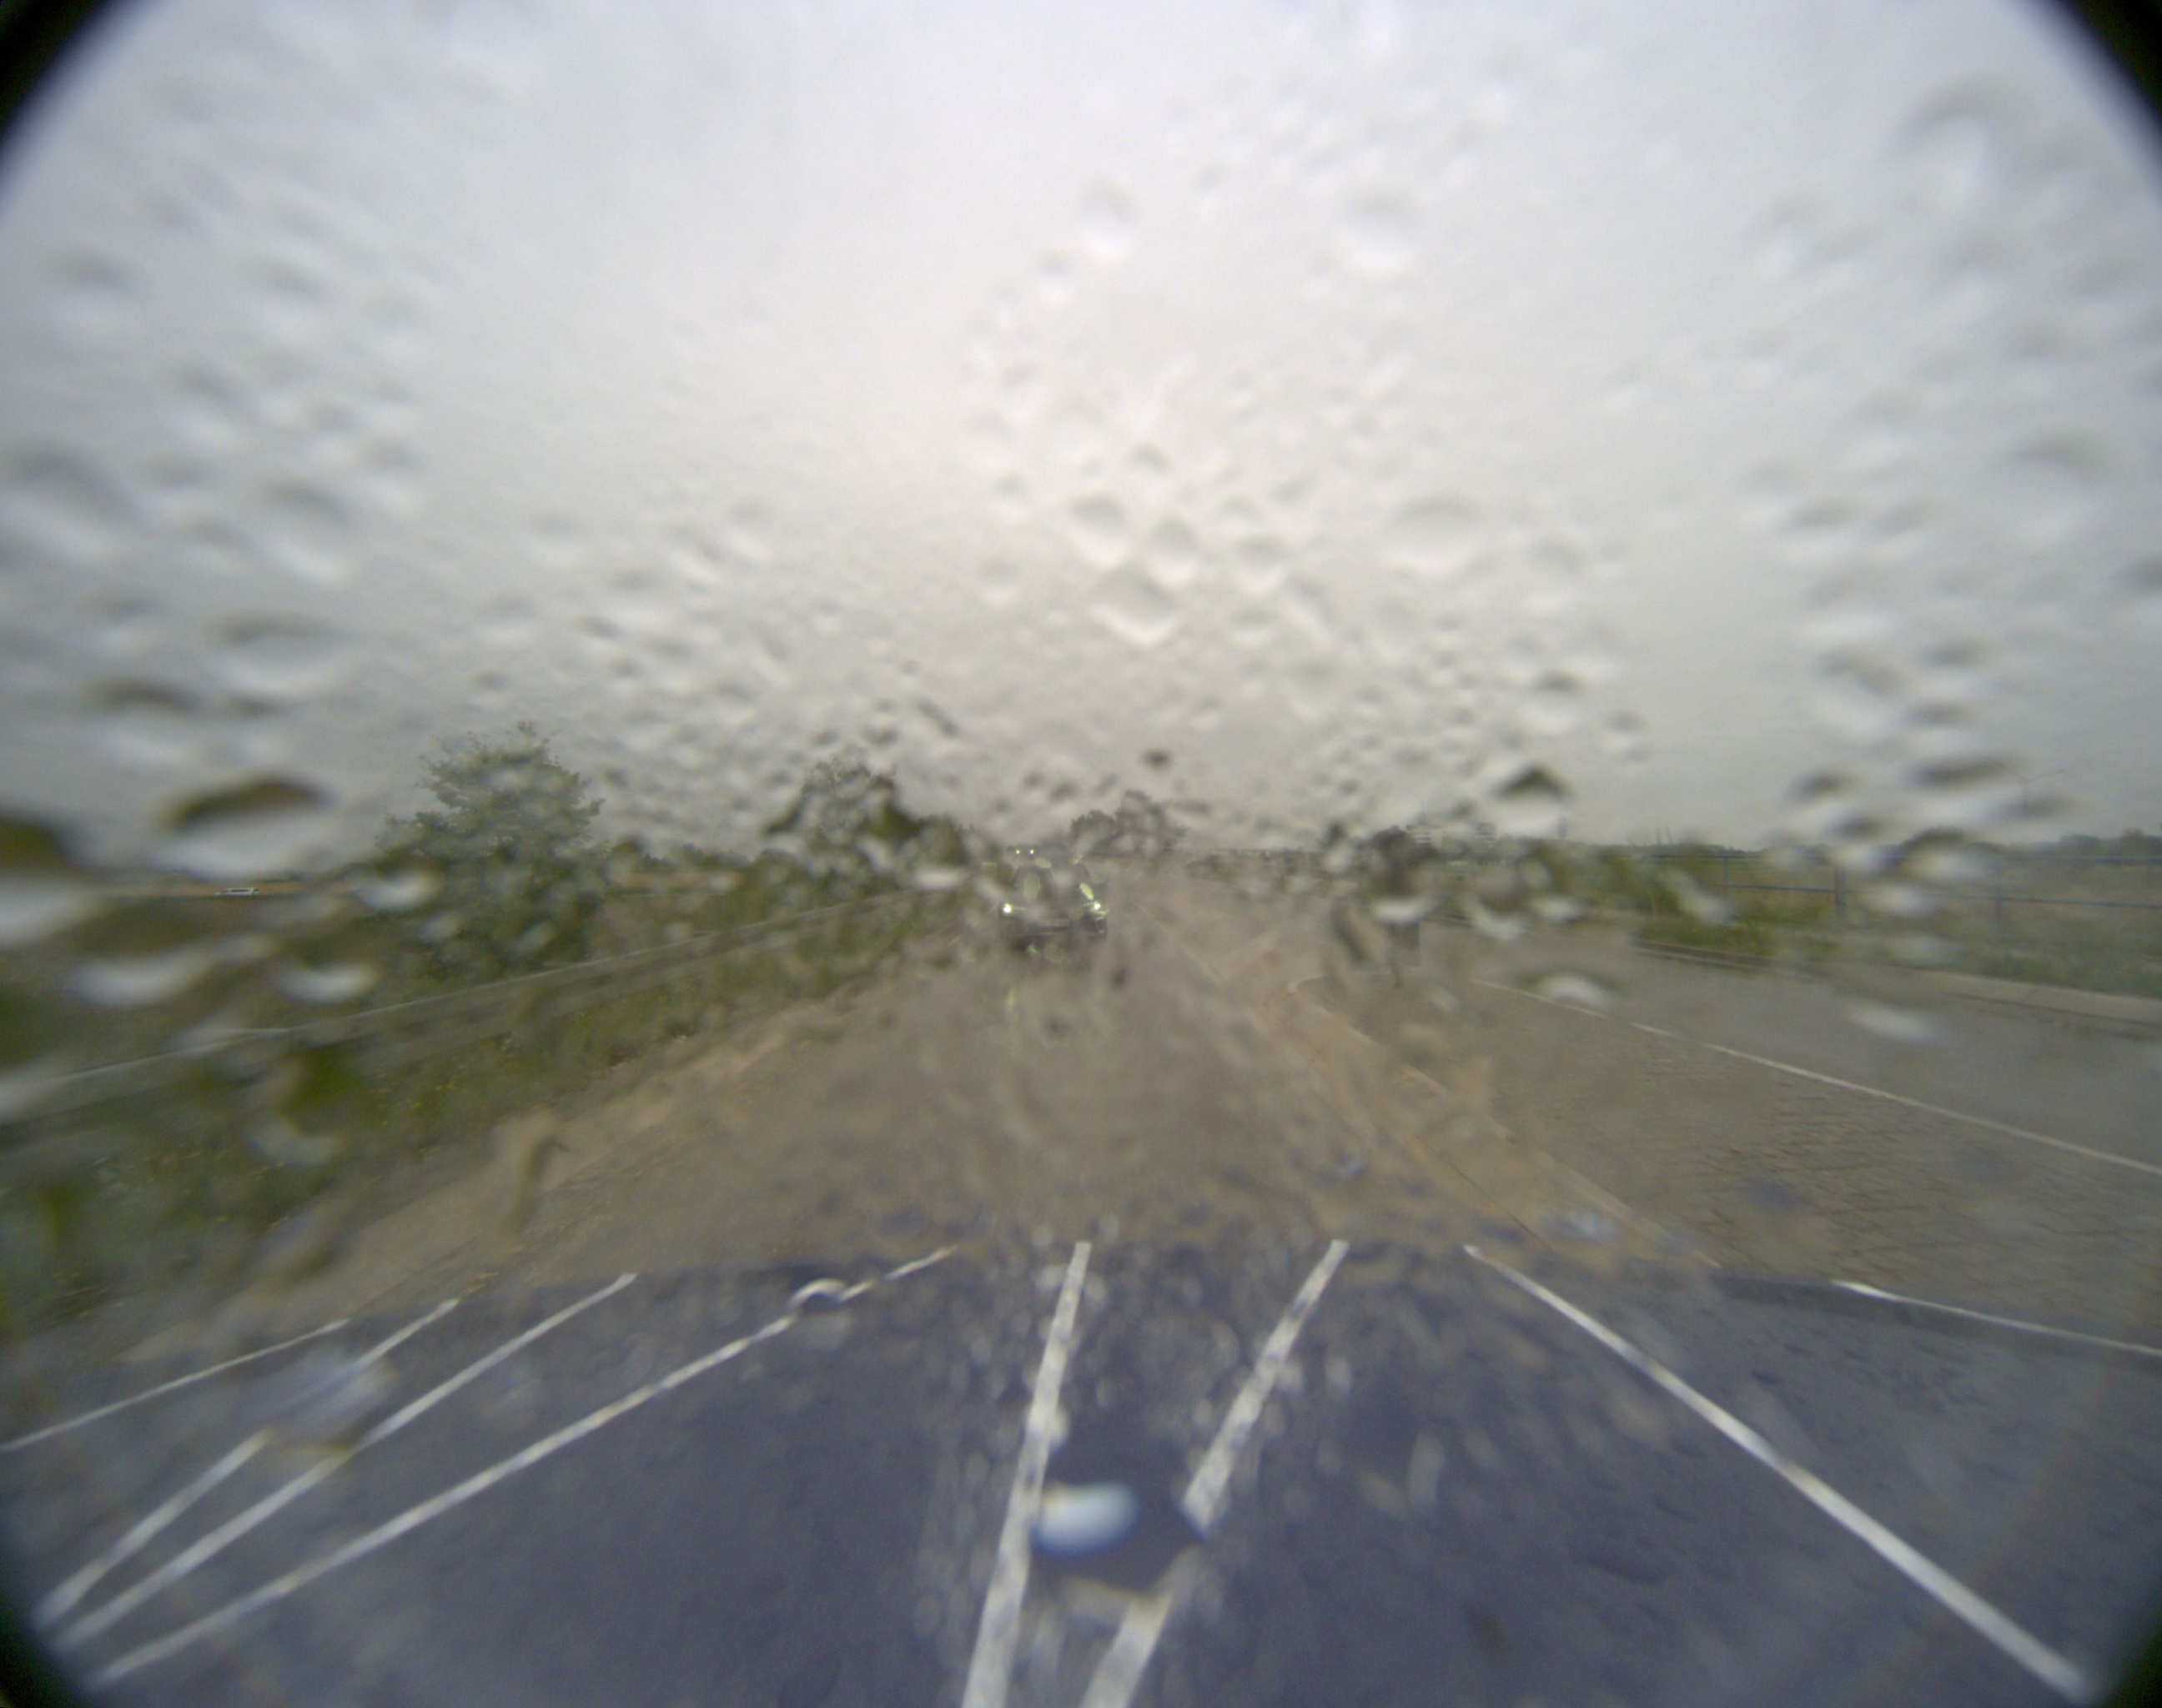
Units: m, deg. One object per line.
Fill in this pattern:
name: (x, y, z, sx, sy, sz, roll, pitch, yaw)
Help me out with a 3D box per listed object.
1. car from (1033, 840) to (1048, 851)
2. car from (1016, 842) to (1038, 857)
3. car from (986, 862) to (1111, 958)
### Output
car: (-5.462, -1.159, 102.747, 1.786, 1.517, 4.165, 0, 1, -7)
car: (-5.169, -0.477, 72.359, 1.910, 1.361, 4.562, -1, 1, -6)
car: (-0.417, 0.899, 14.167, 1.909, 1.361, 4.565, -1, 1, 2)
